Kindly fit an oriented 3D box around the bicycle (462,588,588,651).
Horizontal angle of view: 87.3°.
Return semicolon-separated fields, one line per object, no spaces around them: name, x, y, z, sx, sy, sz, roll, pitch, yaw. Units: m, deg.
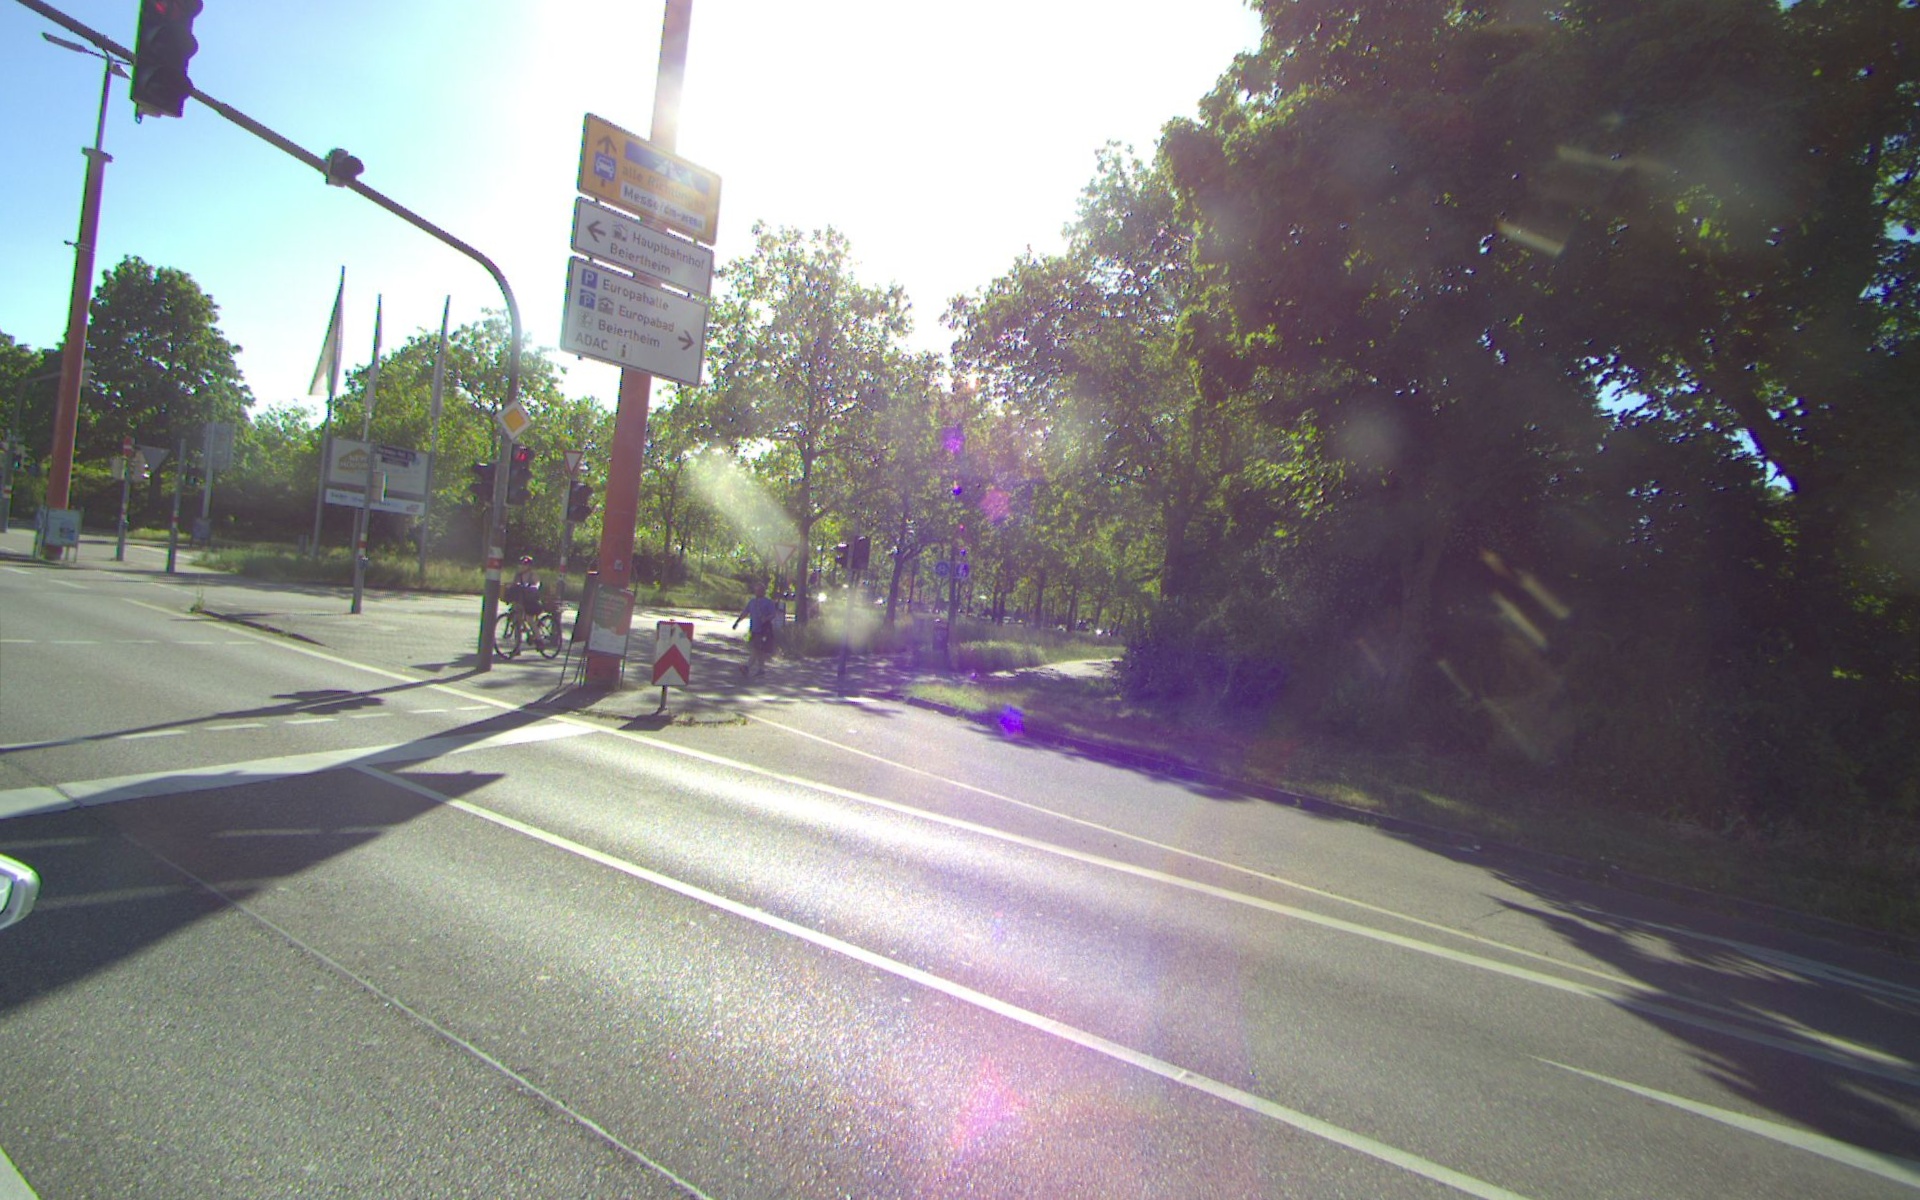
bicycle;-6.947;0.343;16.204;0.549;0.889;2.170;7;-1;16

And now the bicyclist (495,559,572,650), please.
bicyclist;-6.882;0.087;16.261;0.694;1.358;0.742;7;0;16

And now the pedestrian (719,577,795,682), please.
pedestrian;-3.799;0.556;18.890;0.883;1.810;0.895;8;0;14
